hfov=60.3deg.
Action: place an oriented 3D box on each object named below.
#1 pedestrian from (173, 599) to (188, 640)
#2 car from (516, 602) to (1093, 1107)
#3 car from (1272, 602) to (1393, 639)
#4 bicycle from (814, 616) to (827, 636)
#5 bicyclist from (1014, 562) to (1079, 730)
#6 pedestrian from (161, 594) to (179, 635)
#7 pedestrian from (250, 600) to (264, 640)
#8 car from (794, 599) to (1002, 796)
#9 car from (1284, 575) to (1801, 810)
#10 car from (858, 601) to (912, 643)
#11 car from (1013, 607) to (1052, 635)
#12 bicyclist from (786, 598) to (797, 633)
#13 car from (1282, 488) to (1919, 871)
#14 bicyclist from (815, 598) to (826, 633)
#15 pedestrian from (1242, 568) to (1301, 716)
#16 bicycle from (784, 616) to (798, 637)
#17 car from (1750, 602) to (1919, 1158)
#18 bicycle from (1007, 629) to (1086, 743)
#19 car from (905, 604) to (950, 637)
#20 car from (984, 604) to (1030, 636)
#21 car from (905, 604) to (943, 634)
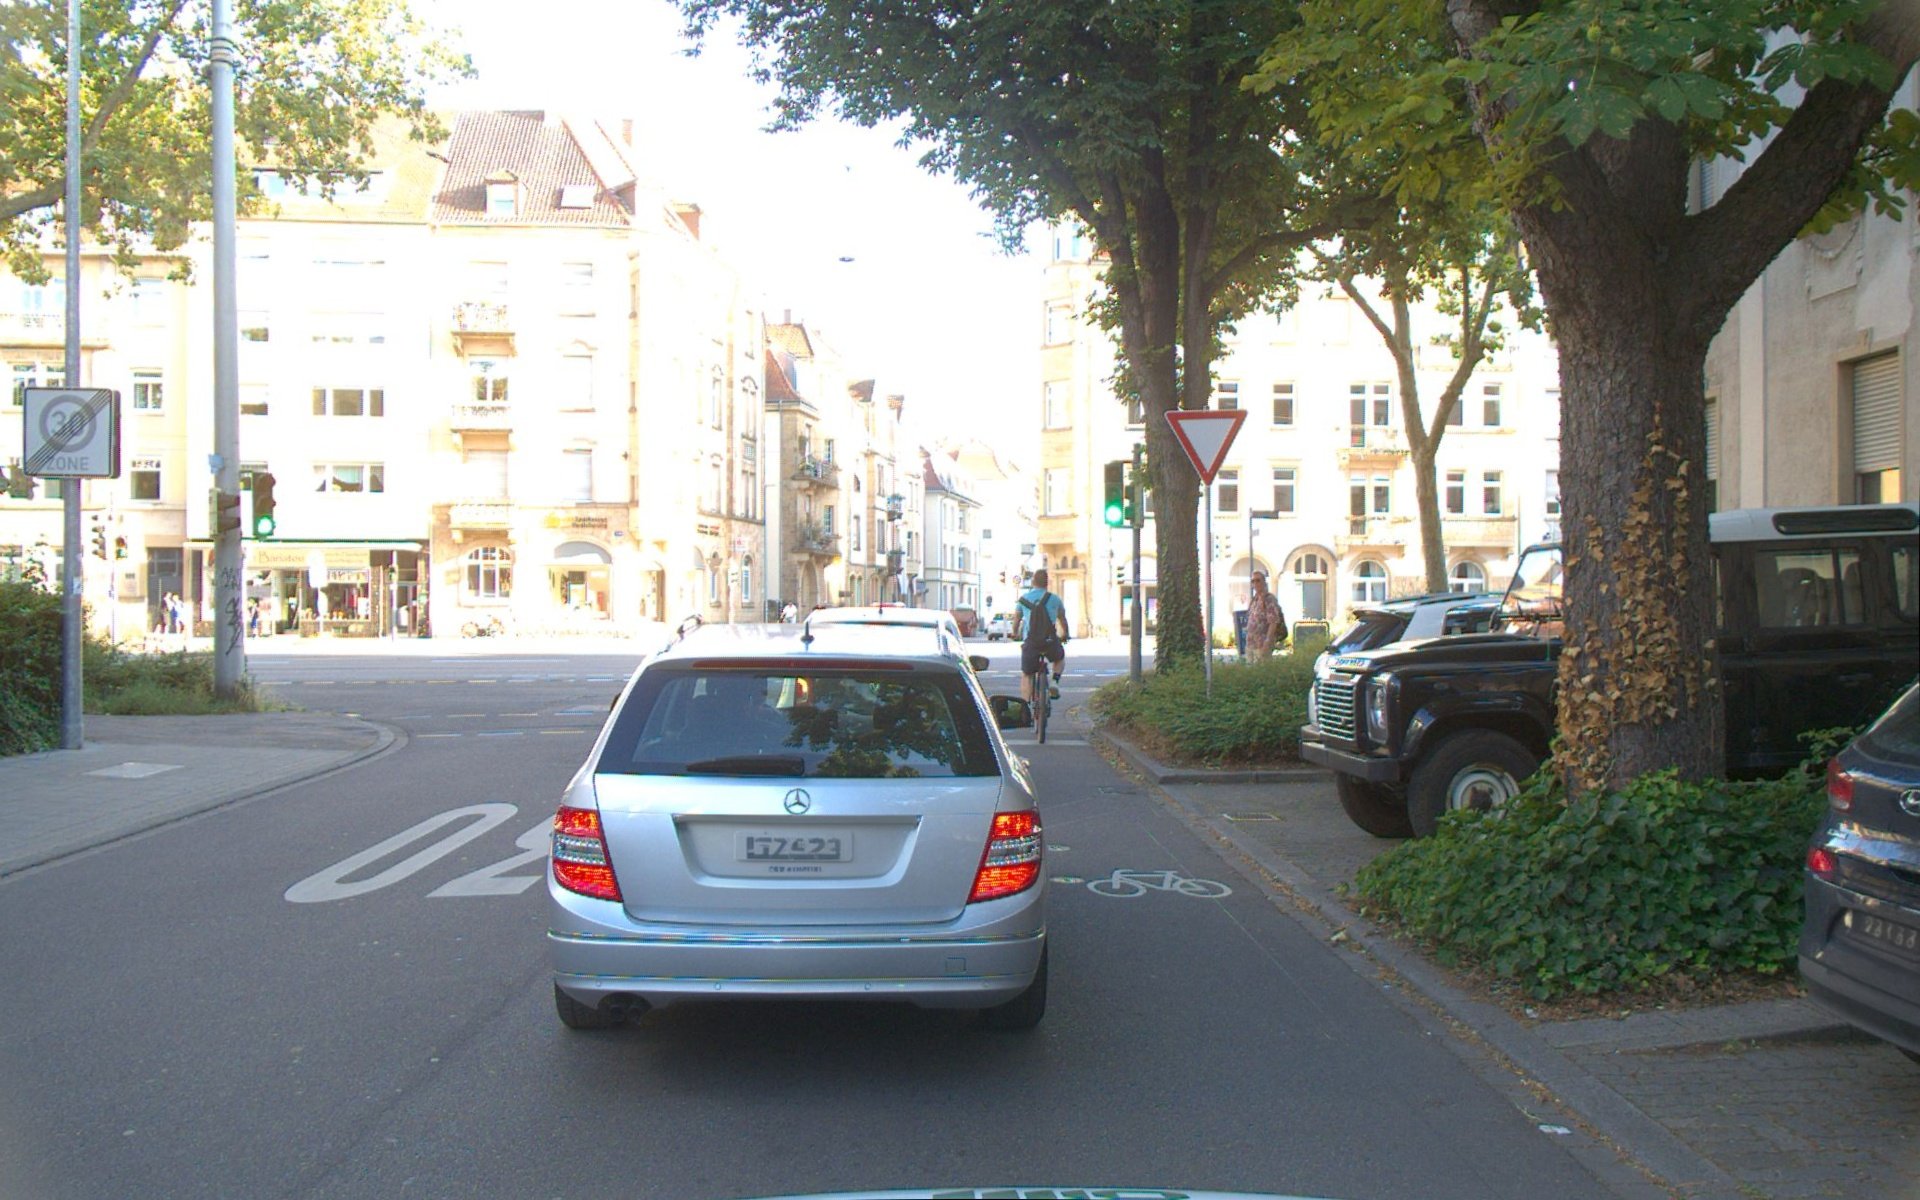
[{"bbox_3d":[-29.687,0.746,62.969,0.502,1.537,0.532,0,0,-24],"label":"pedestrian"},{"bbox_3d":[-0.543,0.755,6.591,1.657,1.454,3.490,1,0,-3],"label":"car"},{"bbox_3d":[11.145,0.614,49.546,3.296,1.087,1.380,0,0,-2],"label":"car"},{"bbox_3d":[-6.106,1.145,72.366,0.557,0.849,1.564,0,0,-4],"label":"bicycle"},{"bbox_3d":[0.947,0.499,18.307,0.633,1.806,0.830,1,-1,-1],"label":"bicyclist"},{"bbox_3d":[-30.029,0.545,62.874,0.557,1.537,0.499,0,0,-20],"label":"pedestrian"},{"bbox_3d":[-27.048,0.778,63.669,0.466,1.537,0.428,0,0,-21],"label":"pedestrian"},{"bbox_3d":[-0.522,0.710,13.854,1.502,1.415,3.597,1,0,-2],"label":"car"},{"bbox_3d":[4.466,0.663,12.961,3.415,1.614,1.708,-1,0,-7],"label":"car"},{"bbox_3d":[-3.560,1.032,79.542,1.896,1.993,4.153,0,0,7],"label":"car"},{"bbox_3d":[4.479,1.291,102.066,1.684,1.503,4.004,-4,0,12],"label":"car"},{"bbox_3d":[-7.353,0.664,72.039,0.457,1.541,0.655,0,0,-4],"label":"bicyclist"},{"bbox_3d":[4.379,0.405,10.065,4.402,1.990,1.791,-2,0,-4],"label":"car"},{"bbox_3d":[-6.119,0.671,72.364,0.457,1.547,0.693,0,0,-4],"label":"bicyclist"},{"bbox_3d":[3.996,0.532,21.261,0.619,1.877,0.574,0,0,-5],"label":"pedestrian"},{"bbox_3d":[-7.353,1.150,71.896,0.557,0.849,1.564,0,0,-4],"label":"bicycle"},{"bbox_3d":[4.328,0.675,4.387,3.675,1.446,1.627,-2,-1,-4],"label":"car"},{"bbox_3d":[0.937,0.918,18.309,0.727,1.137,2.013,1,0,-1],"label":"bicycle"},{"bbox_3d":[-1.715,1.082,88.955,1.650,1.753,4.003,0,0,10],"label":"car"},{"bbox_3d":[2.453,1.011,85.658,1.684,1.504,4.004,-2,0,12],"label":"car"},{"bbox_3d":[-2.194,1.191,102.230,1.615,1.814,3.866,0,-1,10],"label":"car"}]
